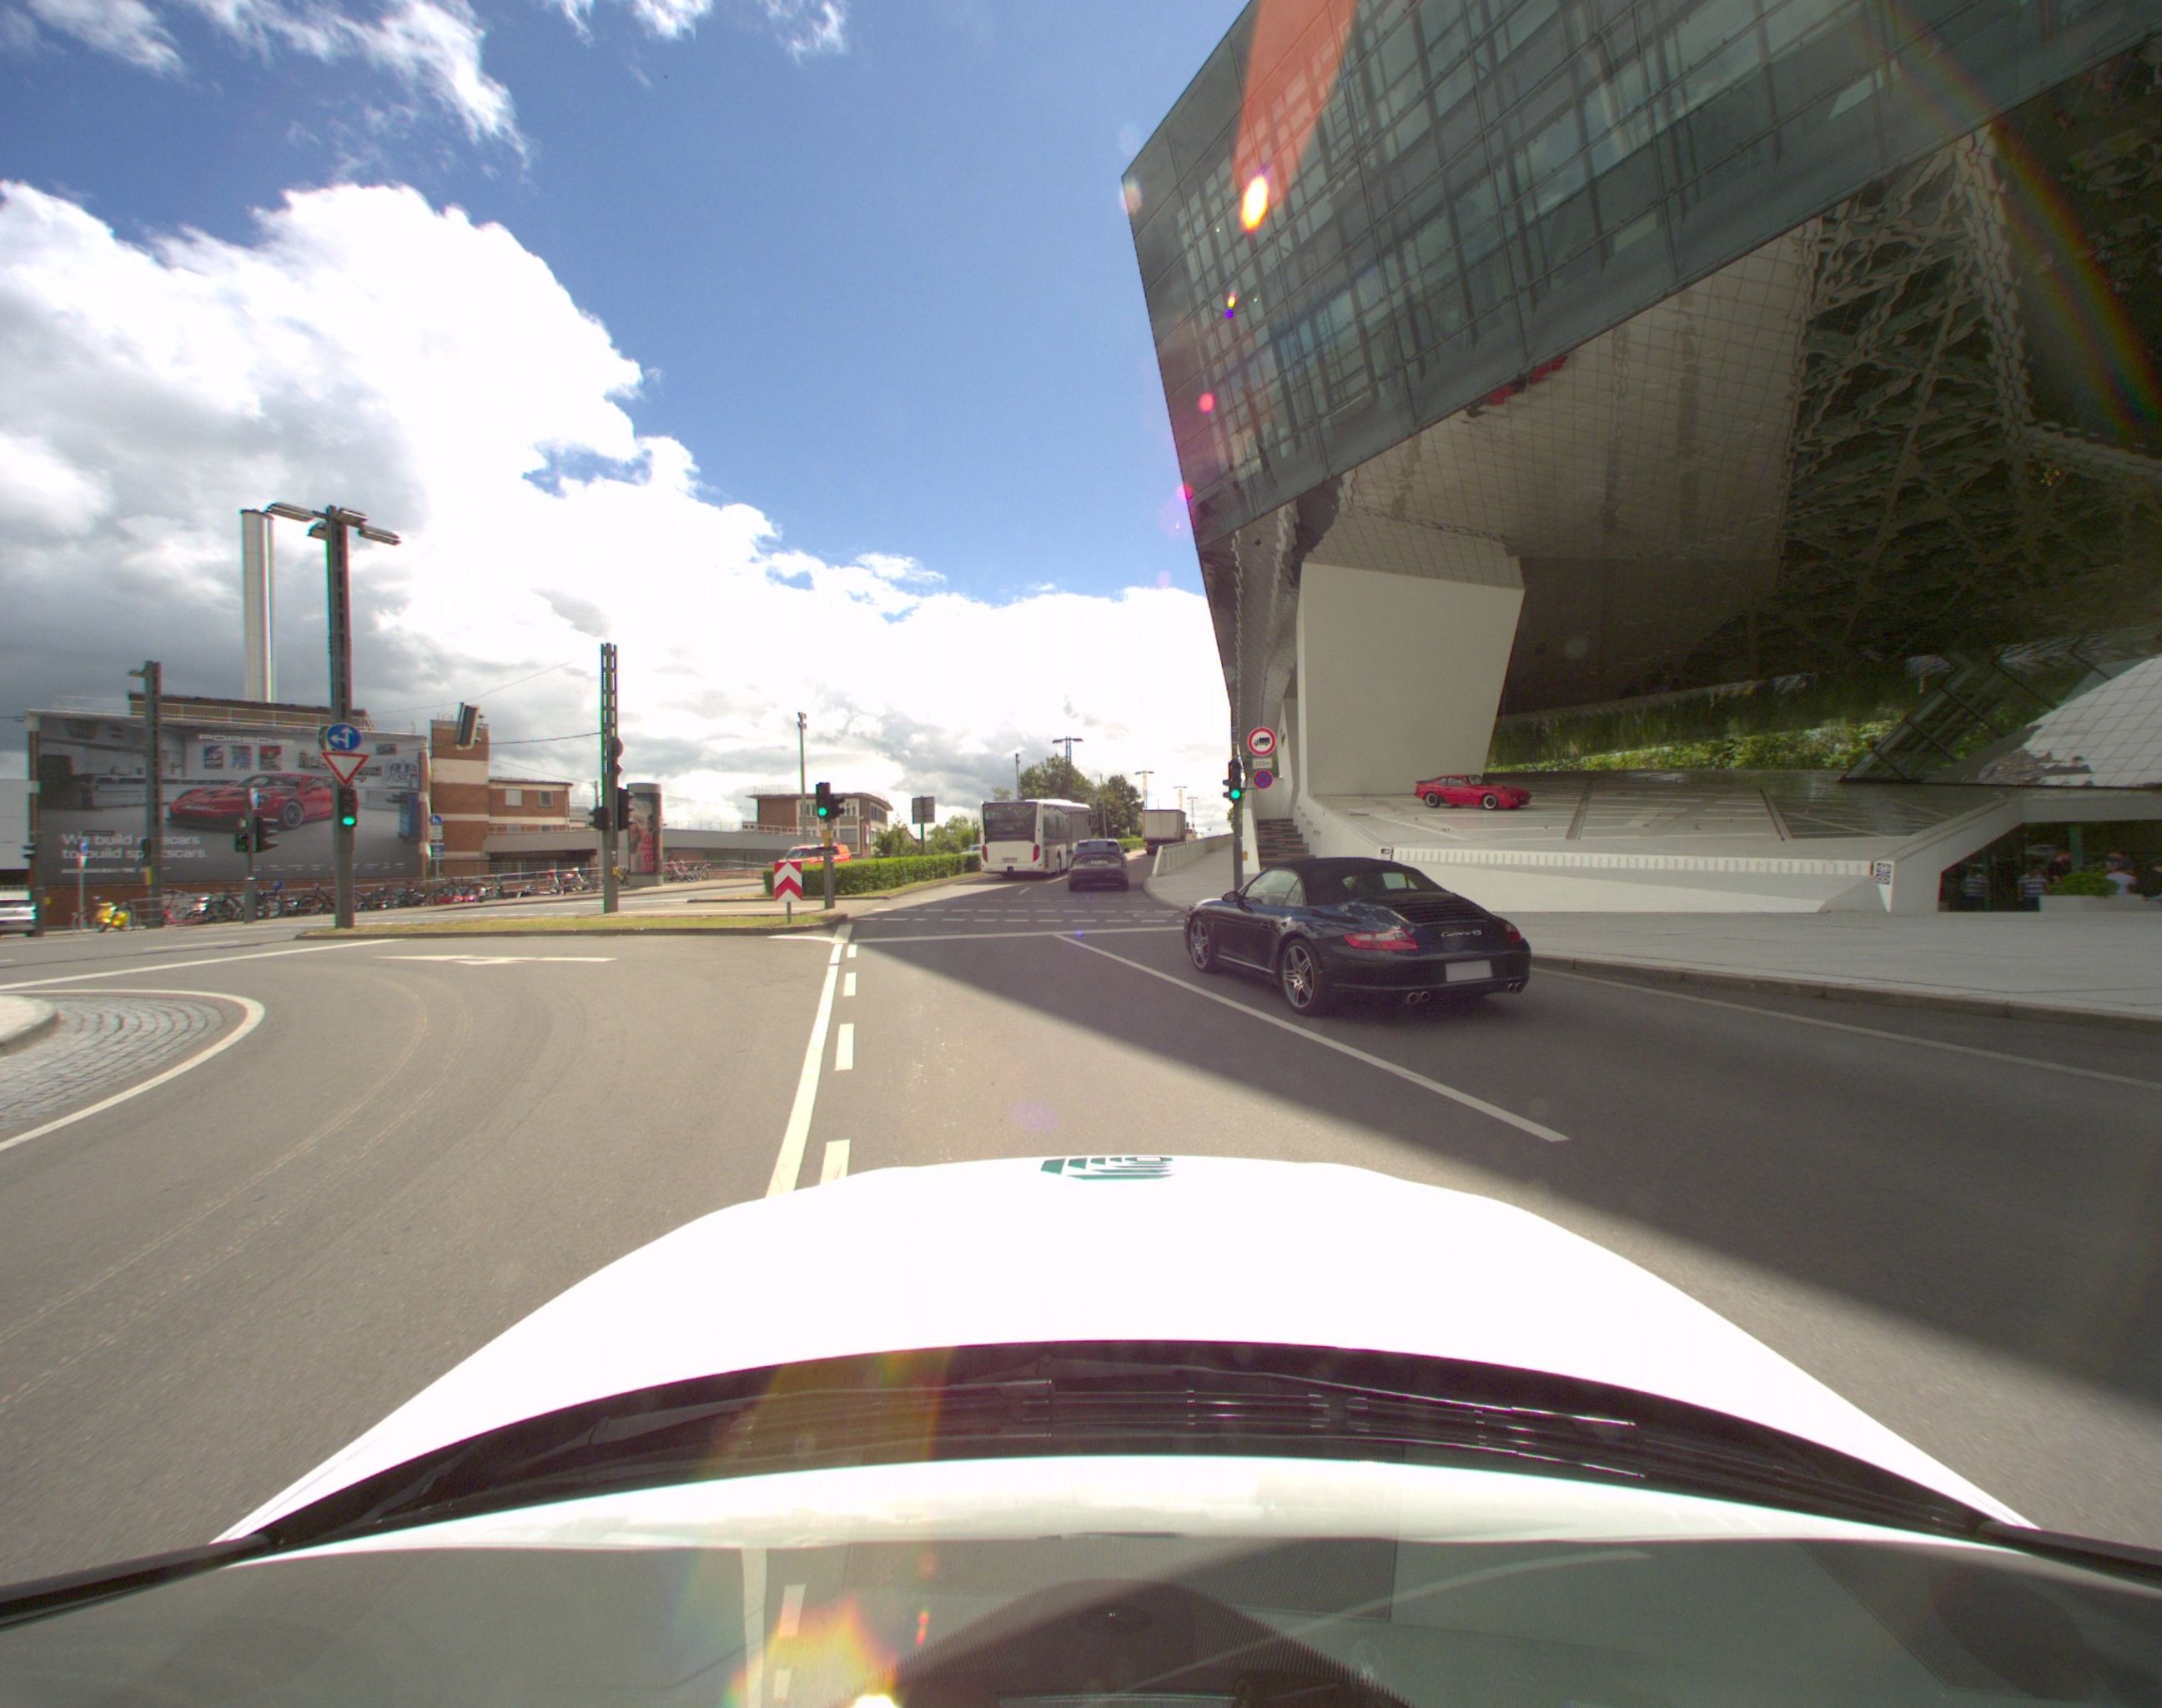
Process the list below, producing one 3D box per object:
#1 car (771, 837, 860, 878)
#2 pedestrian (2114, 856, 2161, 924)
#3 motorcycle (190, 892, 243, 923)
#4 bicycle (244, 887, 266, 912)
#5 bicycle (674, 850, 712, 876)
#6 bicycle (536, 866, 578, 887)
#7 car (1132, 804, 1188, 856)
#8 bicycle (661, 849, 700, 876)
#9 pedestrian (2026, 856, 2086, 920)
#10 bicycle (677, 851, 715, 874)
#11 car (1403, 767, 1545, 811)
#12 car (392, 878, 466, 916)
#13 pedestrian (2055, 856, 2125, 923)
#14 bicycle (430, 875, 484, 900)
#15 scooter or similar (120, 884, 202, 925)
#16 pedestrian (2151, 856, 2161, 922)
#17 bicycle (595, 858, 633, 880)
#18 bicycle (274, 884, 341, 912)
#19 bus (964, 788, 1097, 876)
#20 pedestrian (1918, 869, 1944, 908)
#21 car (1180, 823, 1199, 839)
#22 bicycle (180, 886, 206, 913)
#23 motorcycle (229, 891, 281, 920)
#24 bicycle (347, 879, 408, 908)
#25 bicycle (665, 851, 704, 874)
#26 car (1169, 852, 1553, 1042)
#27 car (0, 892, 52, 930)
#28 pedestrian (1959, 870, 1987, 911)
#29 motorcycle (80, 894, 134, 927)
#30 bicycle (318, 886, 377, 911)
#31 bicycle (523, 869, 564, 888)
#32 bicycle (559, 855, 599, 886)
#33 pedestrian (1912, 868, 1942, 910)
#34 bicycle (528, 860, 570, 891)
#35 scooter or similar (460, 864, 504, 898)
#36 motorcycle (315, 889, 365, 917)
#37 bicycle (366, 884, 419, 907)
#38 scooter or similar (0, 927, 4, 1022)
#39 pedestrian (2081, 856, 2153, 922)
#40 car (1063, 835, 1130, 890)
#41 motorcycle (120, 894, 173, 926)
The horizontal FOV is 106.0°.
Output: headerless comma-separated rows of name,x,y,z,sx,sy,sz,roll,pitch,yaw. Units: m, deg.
car,-13.839,0.116,42.742,1.978,1.983,4.857,-2,1,16
pedestrian,24.986,0.827,19.000,0.911,1.573,0.836,-1,-1,39
motorcycle,-37.092,2.273,34.934,2.875,1.196,0.926,0,-1,31
bicycle,-30.361,1.667,29.952,0.495,0.866,1.591,1,-1,-43
bicycle,-20.380,0.463,42.778,1.726,1.381,0.672,0,-1,11
bicycle,-24.799,1.068,38.572,0.486,0.866,1.621,-2,2,25
car,6.099,-1.644,60.990,3.314,3.504,9.369,0,-1,11
bicycle,-20.570,0.452,41.828,1.726,1.381,0.672,0,-1,11
pedestrian,24.963,0.851,20.865,0.820,1.573,0.929,-1,-1,40
bicycle,-20.569,0.438,43.502,1.726,1.182,0.672,0,1,11
car,14.771,-2.533,30.888,2.007,1.394,4.470,-5,9,-31
car,-33.131,2.159,41.376,3.439,1.785,1.640,0,-1,28
pedestrian,24.340,0.833,19.674,0.820,1.573,0.929,0,-1,35
bicycle,-24.650,1.306,32.199,0.487,0.866,1.620,-2,2,23
scooter or similar,-30.308,1.650,26.849,1.639,1.181,0.497,-5,2,-33
pedestrian,26.181,0.838,19.340,0.695,1.573,0.789,1,-1,-26
bicycle,-22.114,0.707,38.584,1.595,1.056,0.494,0,-1,11
bicycle,-27.237,1.539,28.708,1.618,0.866,0.487,-3,1,-37
bus,-1.839,-1.045,37.430,3.052,3.361,12.263,0,2,11
pedestrian,27.521,1.109,26.363,0.468,1.253,0.565,0,-1,35
car,13.409,-2.820,100.470,1.979,1.904,4.014,0,-1,13
bicycle,-31.501,1.608,28.886,0.495,0.866,1.591,1,-1,-43
motorcycle,-36.491,2.254,35.968,2.875,1.196,0.926,0,-1,31
bicycle,-25.915,1.443,30.016,0.486,0.866,1.621,-1,3,40
bicycle,-20.794,0.442,42.707,1.727,1.181,0.672,0,5,9
car,2.382,0.679,8.128,1.835,1.325,3.984,-2,1,-12
car,-41.729,2.173,31.137,3.318,1.350,1.793,0,-1,16
pedestrian,27.711,1.118,25.306,0.468,1.253,0.565,0,-1,35
motorcycle,-39.287,2.269,32.842,2.875,1.196,0.926,0,-1,31
bicycle,-28.637,1.721,31.815,1.618,0.866,0.487,-2,1,-36
bicycle,-25.591,1.160,38.781,0.487,0.866,1.620,-2,0,23
bicycle,-22.422,0.737,36.406,1.595,1.382,0.494,0,-1,11
pedestrian,25.607,1.062,24.651,0.476,1.253,0.555,1,-1,-38
bicycle,-23.014,0.933,35.229,1.595,1.316,0.494,0,-1,11
scooter or similar,-23.703,1.068,32.235,0.490,1.231,1.395,0,3,12
motorcycle,-34.887,2.283,38.323,2.875,1.196,0.926,0,-1,31
bicycle,-28.003,1.680,33.148,1.620,0.866,0.487,1,-1,-43
scooter or similar,-9.719,1.096,6.673,1.246,0.848,0.914,-1,1,44
pedestrian,25.588,0.845,20.133,0.911,1.573,0.836,-1,-1,39
car,0.546,0.200,26.239,1.985,1.636,4.003,0,1,3
motorcycle,-38.750,2.289,33.757,2.875,1.196,0.926,0,-1,31
